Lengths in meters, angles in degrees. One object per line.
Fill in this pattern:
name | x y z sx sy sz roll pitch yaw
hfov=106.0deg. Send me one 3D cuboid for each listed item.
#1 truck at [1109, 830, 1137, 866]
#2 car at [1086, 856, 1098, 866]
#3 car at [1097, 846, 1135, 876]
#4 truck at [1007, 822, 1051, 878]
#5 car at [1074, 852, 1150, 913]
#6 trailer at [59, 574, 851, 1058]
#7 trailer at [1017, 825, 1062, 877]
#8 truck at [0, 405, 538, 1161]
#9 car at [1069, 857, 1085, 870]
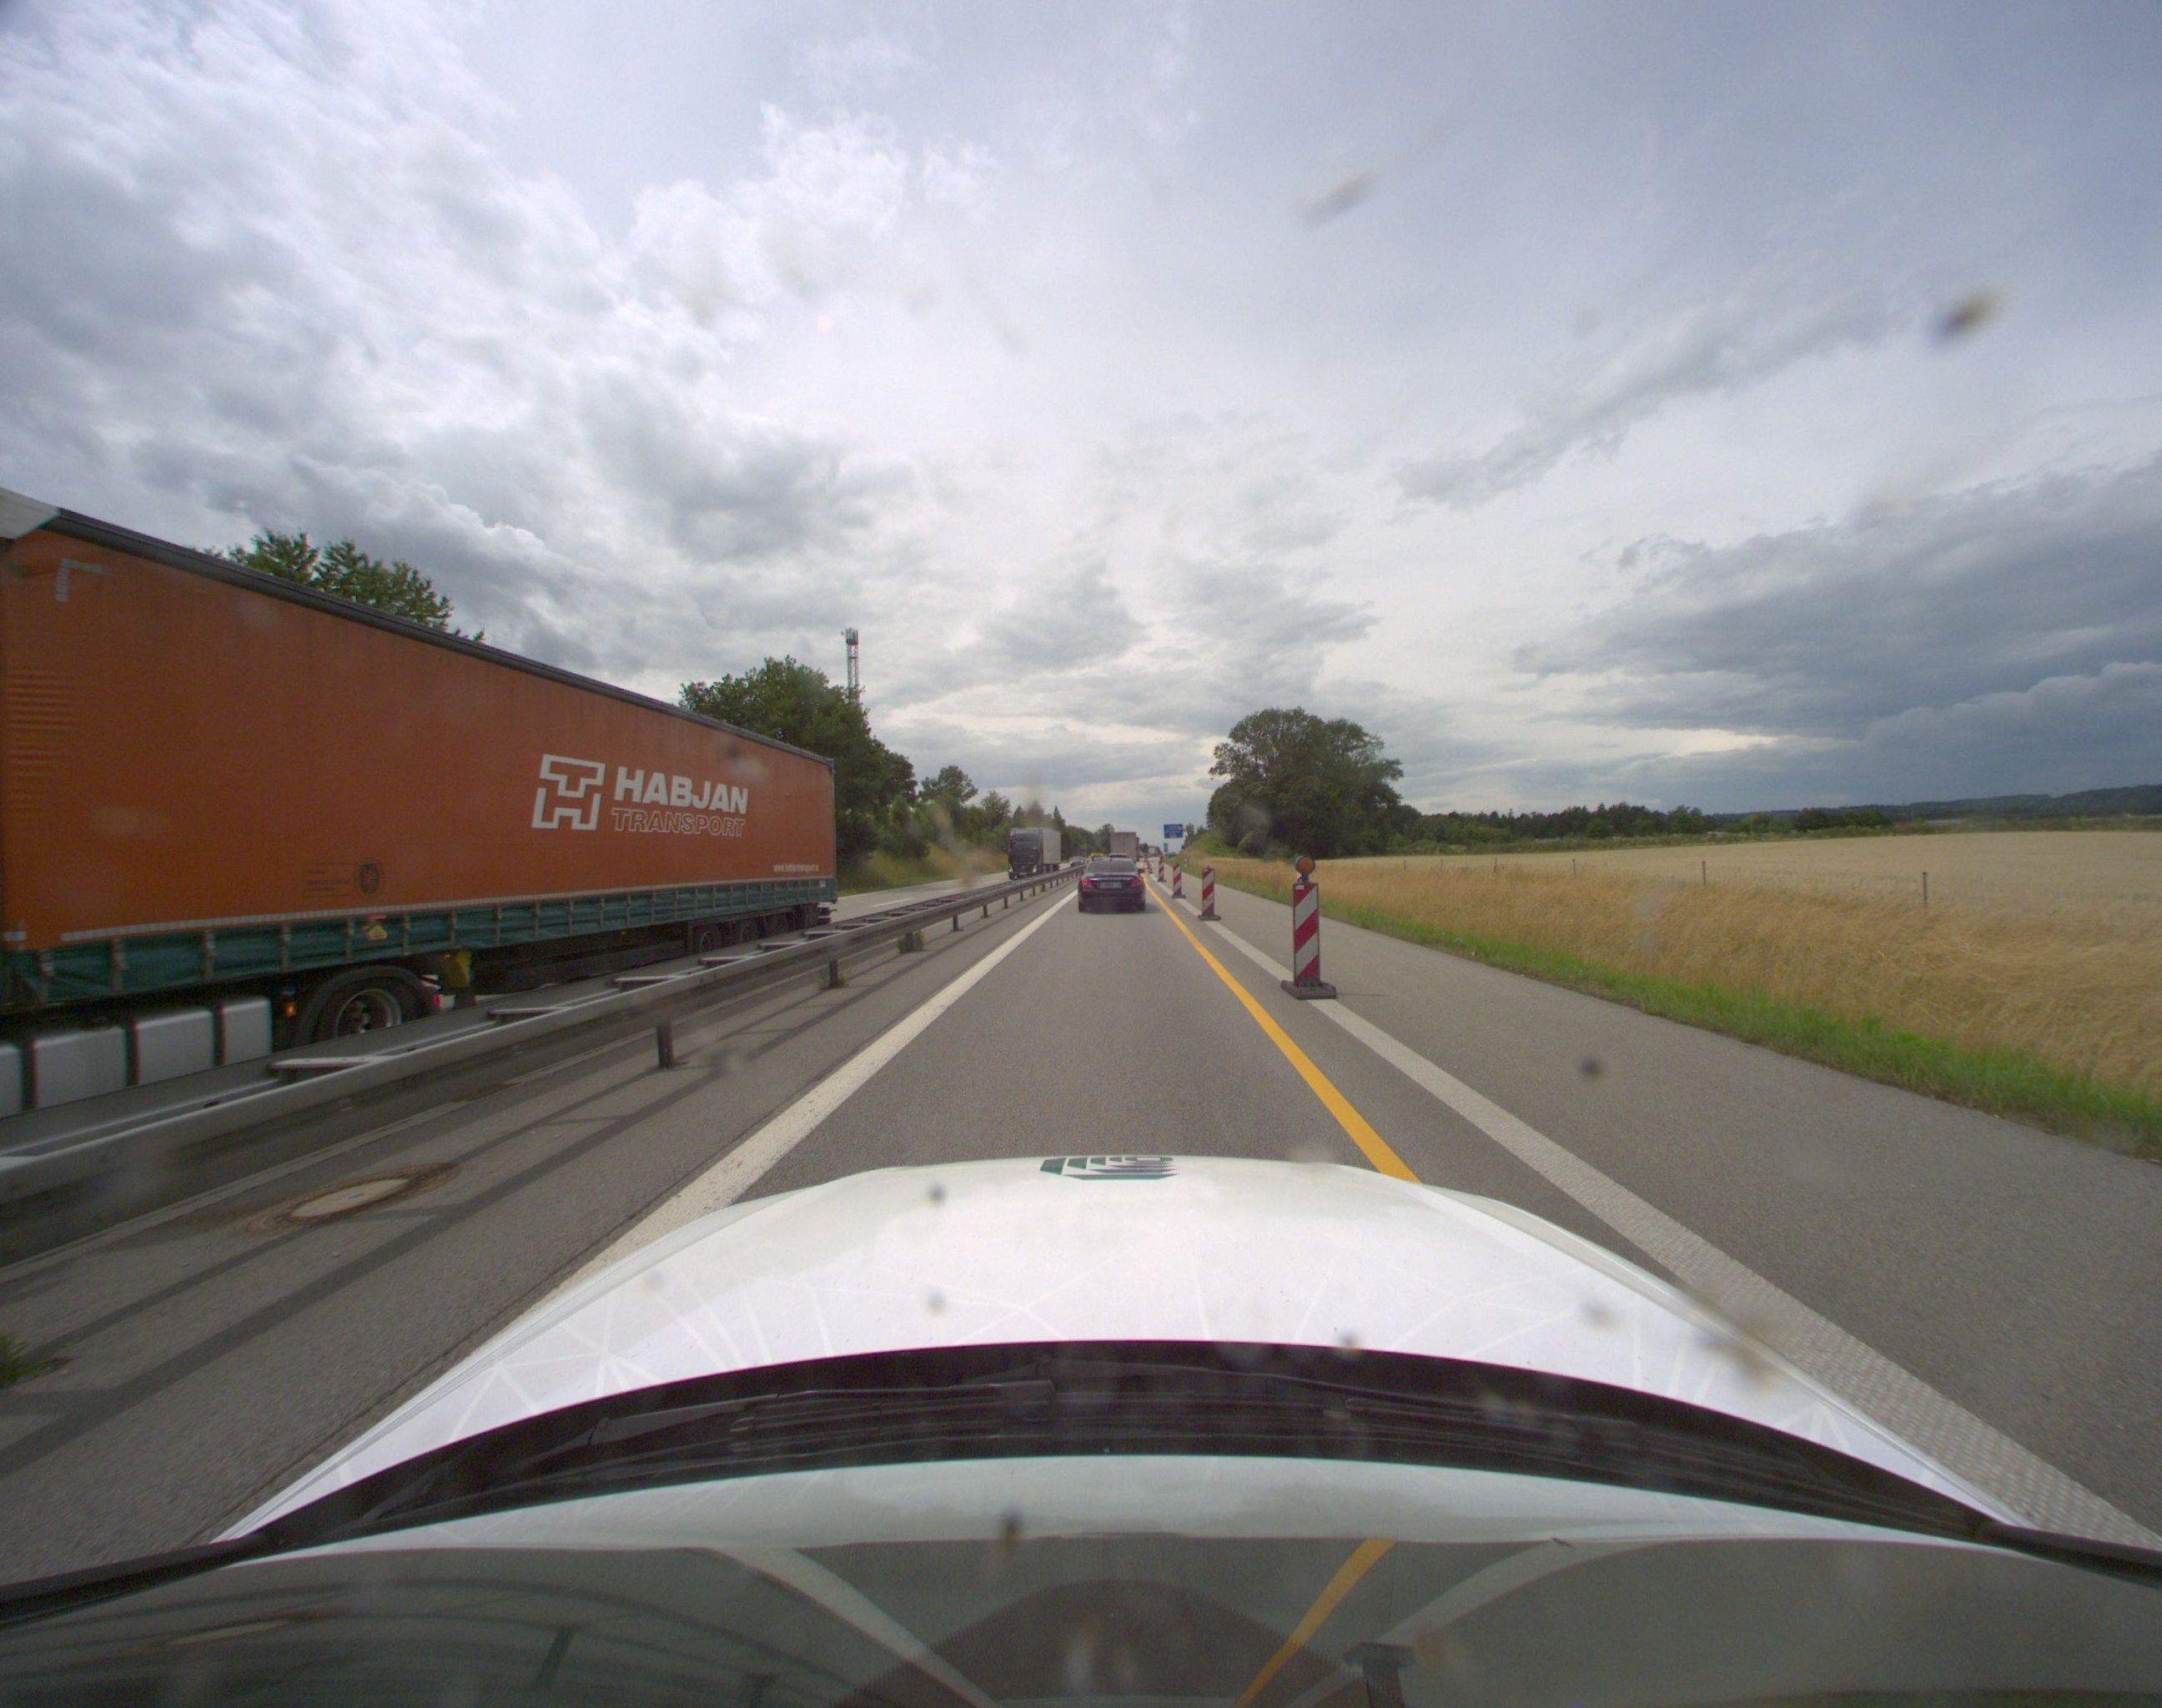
truck | 4.218 -0.602 82.524 2.578 3.525 4.812 0 -1 1
car | 1.916 1.224 140.899 1.985 1.618 4.003 0 -1 3
car | 2.316 0.486 55.159 1.992 2.014 3.990 0 -1 -7
truck | -4.031 -0.268 64.369 2.628 4.170 6.991 0 -1 4
car | 0.956 0.769 23.057 1.786 1.560 4.008 0 -1 7
trailer | -7.118 -0.250 12.939 3.138 4.213 11.649 0 -1 2
trailer | -3.505 -0.133 71.895 2.628 4.170 12.198 0 -1 4
truck | -7.532 -0.383 5.307 3.109 4.213 6.786 0 -1 3
car | -0.532 1.289 109.355 1.985 1.618 4.003 0 -1 3
